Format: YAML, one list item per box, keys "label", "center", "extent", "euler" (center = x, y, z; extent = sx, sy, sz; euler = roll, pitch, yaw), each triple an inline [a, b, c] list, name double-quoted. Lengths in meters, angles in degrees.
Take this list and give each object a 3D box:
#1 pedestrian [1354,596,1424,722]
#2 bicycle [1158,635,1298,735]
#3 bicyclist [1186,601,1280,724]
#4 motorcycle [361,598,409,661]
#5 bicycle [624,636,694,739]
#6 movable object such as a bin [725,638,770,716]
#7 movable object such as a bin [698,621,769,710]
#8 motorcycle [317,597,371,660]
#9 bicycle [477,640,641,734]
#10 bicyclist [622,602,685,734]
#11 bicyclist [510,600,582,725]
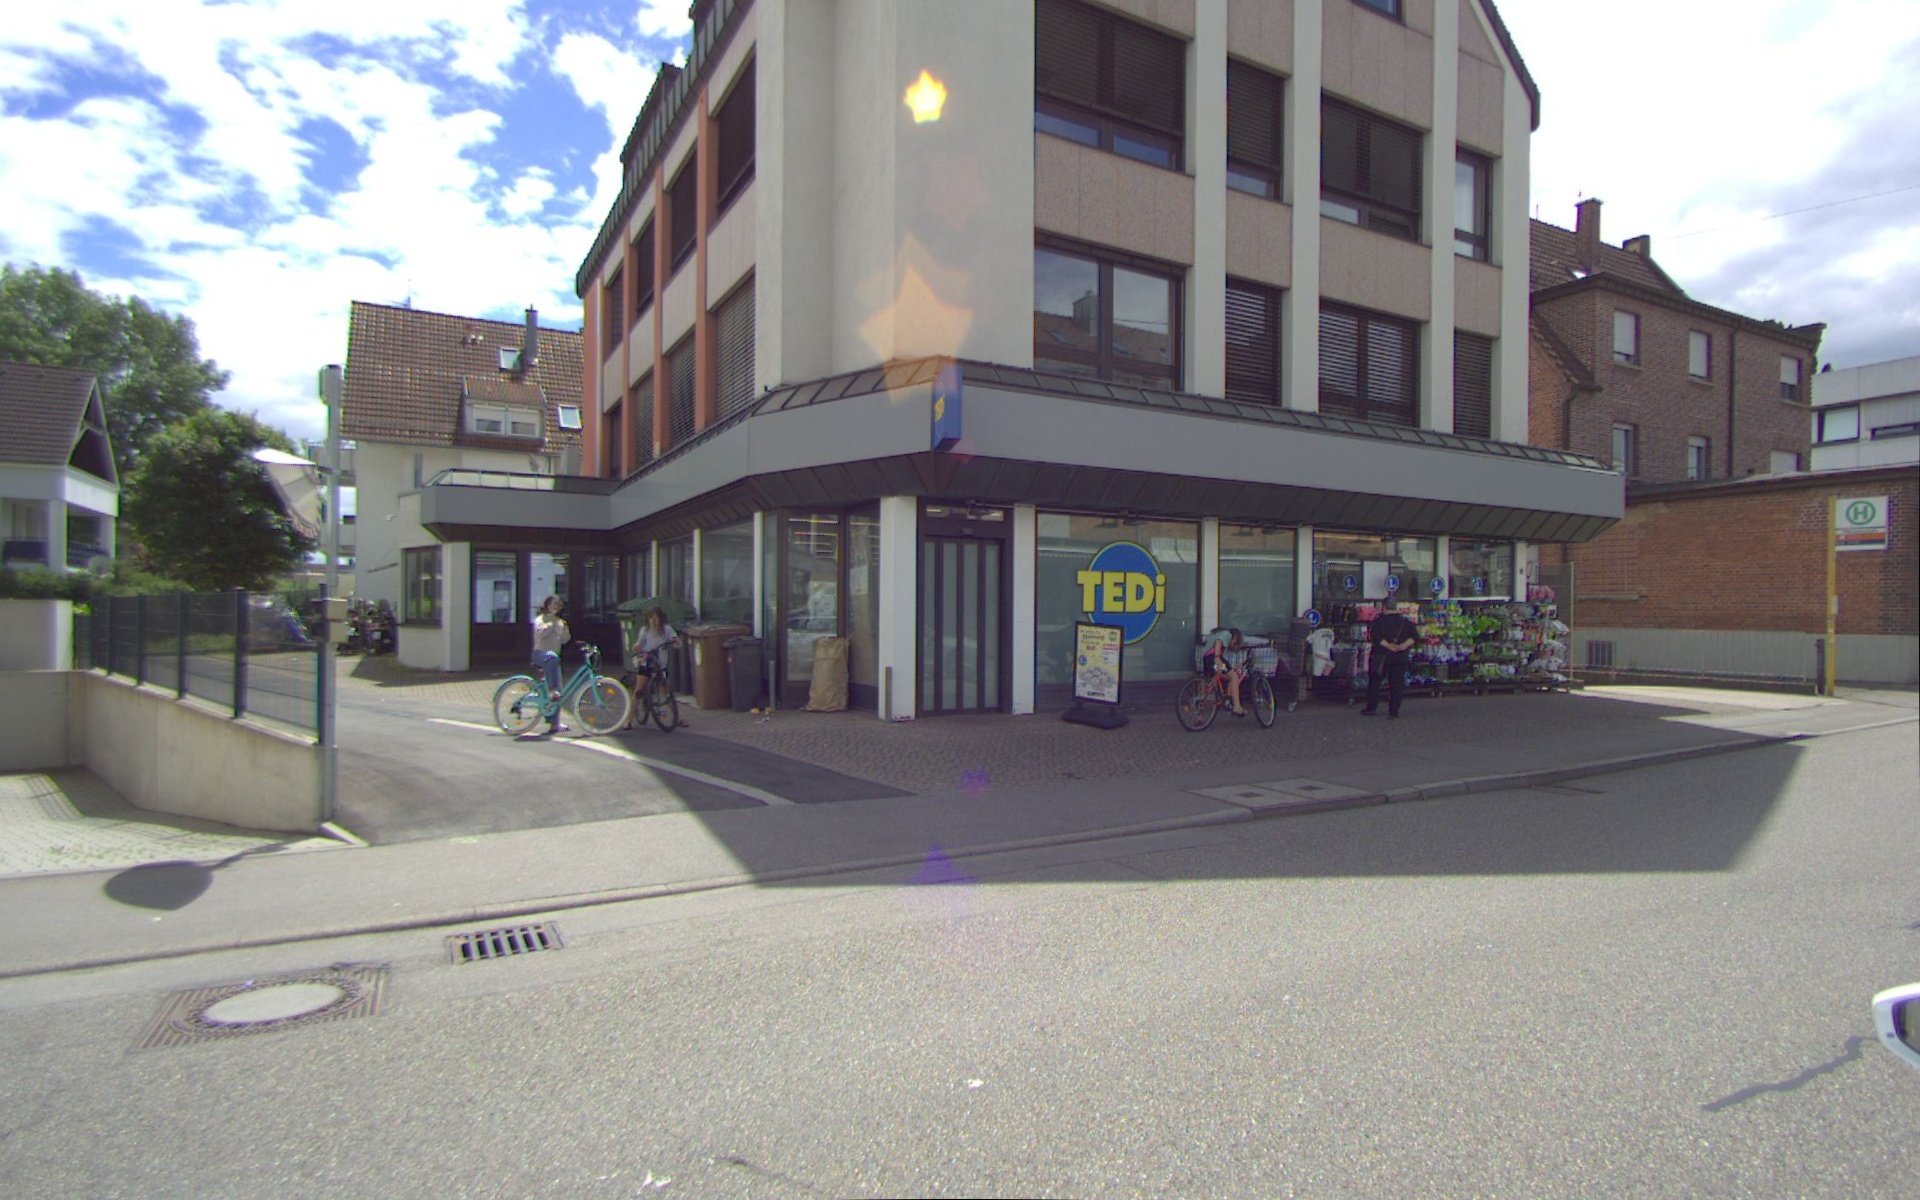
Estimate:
- label: "pedestrian"
  center: [5.663, 0.762, 13.299]
  extent: [0.757, 1.579, 0.574]
  euler: [2, 0, 20]
- label: "bicycle"
  center: [3.183, 0.972, 11.885]
  extent: [1.714, 1.064, 0.441]
  euler: [1, 6, -31]
- label: "bicyclist"
  center: [3.202, 0.708, 11.796]
  extent: [0.753, 1.355, 0.664]
  euler: [0, 4, -30]
- label: "motorcycle"
  center: [-15.144, 0.743, 26.524]
  extent: [0.849, 1.539, 3.778]
  euler: [1, -1, -26]
- label: "bicycle"
  center: [-3.336, 0.918, 11.051]
  extent: [0.547, 0.967, 1.681]
  euler: [0, 0, -24]
- label: "movable object such as a bin"
  center: [-2.678, 0.960, 12.638]
  extent: [0.438, 0.923, 0.405]
  euler: [-2, 1, -30]
- label: "movable object such as a bin"
  center: [-2.982, 0.843, 13.228]
  extent: [0.729, 1.080, 0.680]
  euler: [-2, 2, -30]
- label: "motorcycle"
  center: [-16.172, 0.725, 26.443]
  extent: [0.849, 1.539, 3.595]
  euler: [1, -1, -26]
- label: "bicycle"
  center: [-4.180, 0.898, 10.498]
  extent: [1.557, 0.929, 0.459]
  euler: [0, 1, 6]
- label: "bicyclist"
  center: [-3.343, 0.719, 10.954]
  extent: [0.581, 1.384, 0.422]
  euler: [-1, 1, -24]
- label: "bicyclist"
  center: [-4.325, 0.634, 10.518]
  extent: [0.418, 1.258, 0.642]
  euler: [2, 0, 3]
